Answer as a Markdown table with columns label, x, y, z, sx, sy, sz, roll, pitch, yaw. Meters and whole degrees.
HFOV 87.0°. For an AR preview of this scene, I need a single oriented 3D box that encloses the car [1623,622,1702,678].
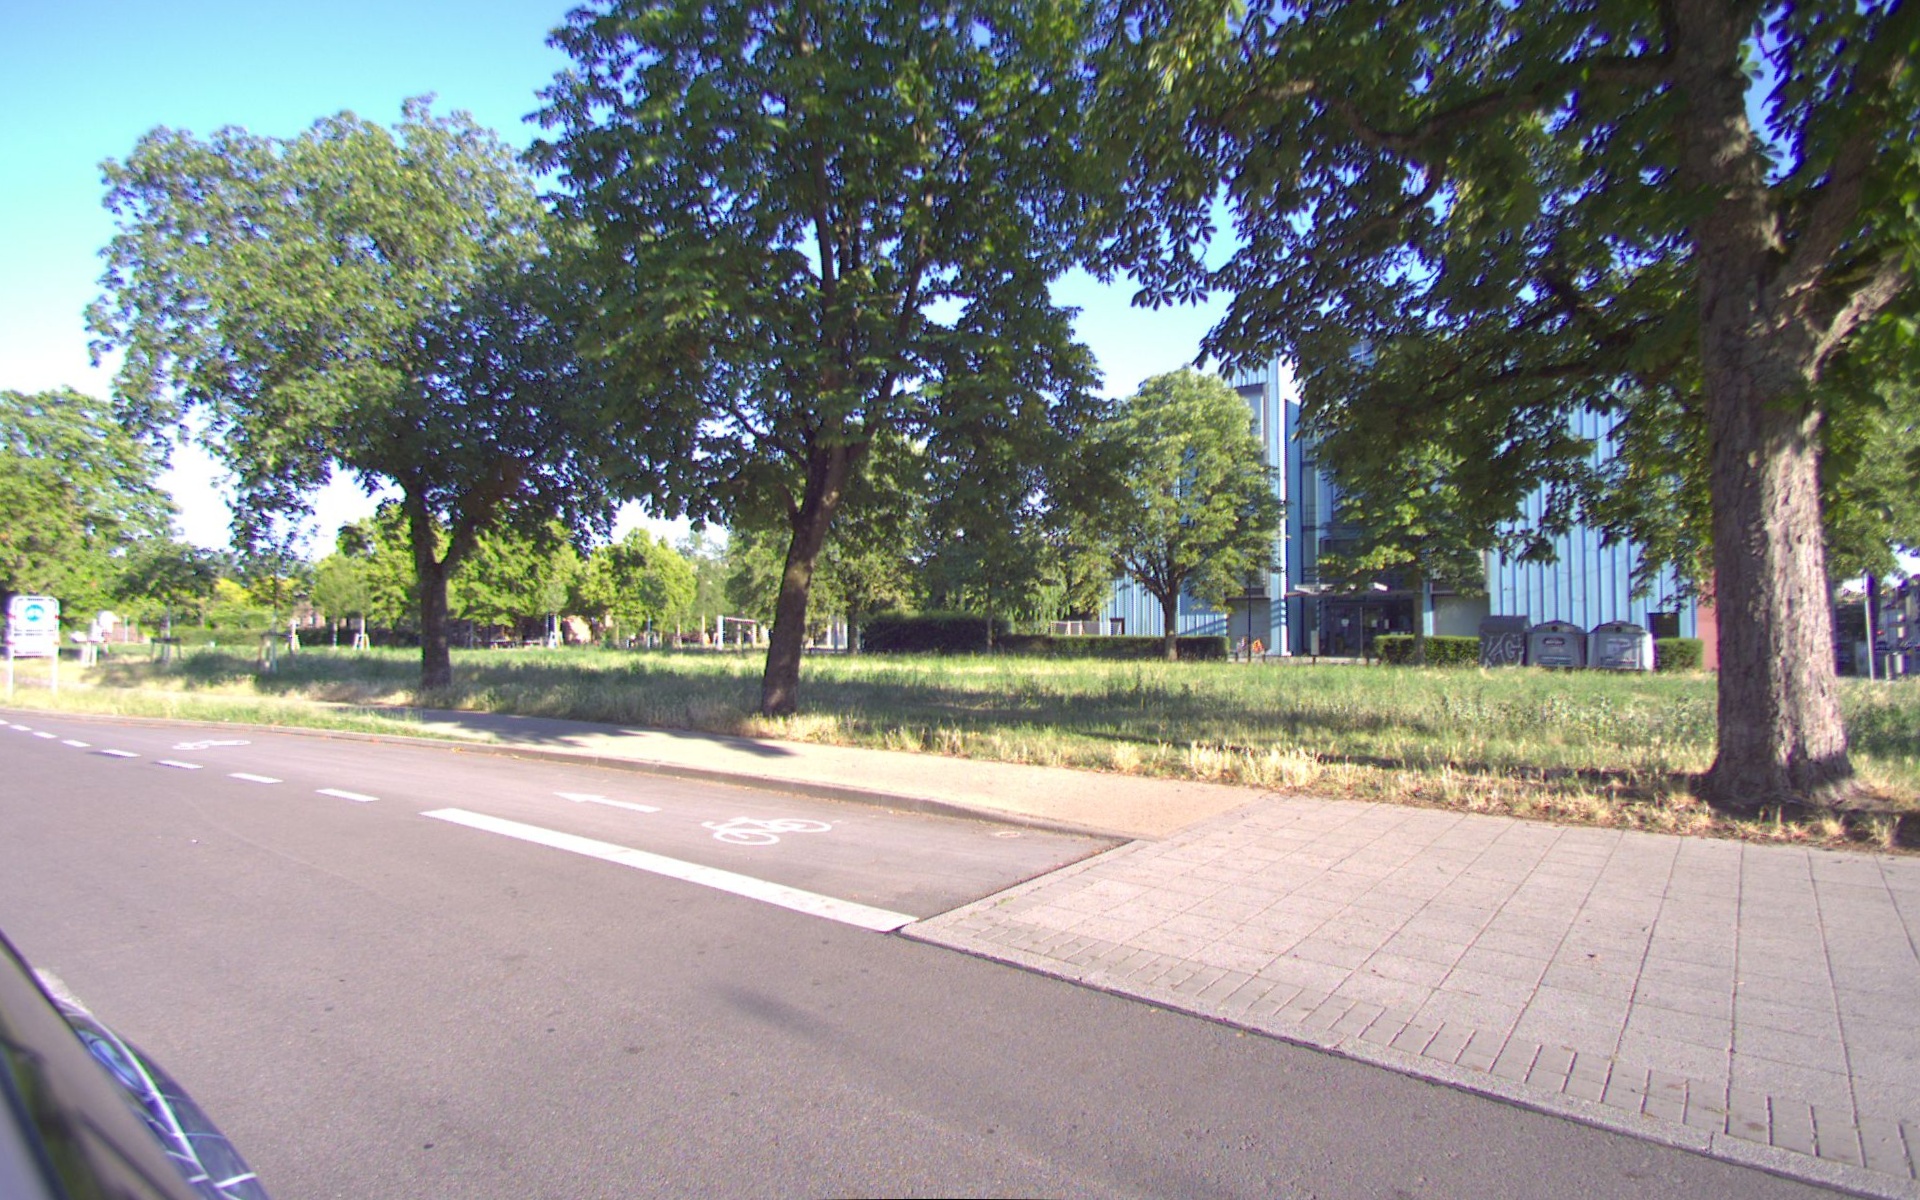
| label | x | y | z | sx | sy | sz | roll | pitch | yaw |
| --- | --- | --- | --- | --- | --- | --- | --- | --- | --- |
| car | 23.626 | 1.720 | 33.944 | 1.996 | 1.684 | 5.158 | -1 | -4 | 37 |
